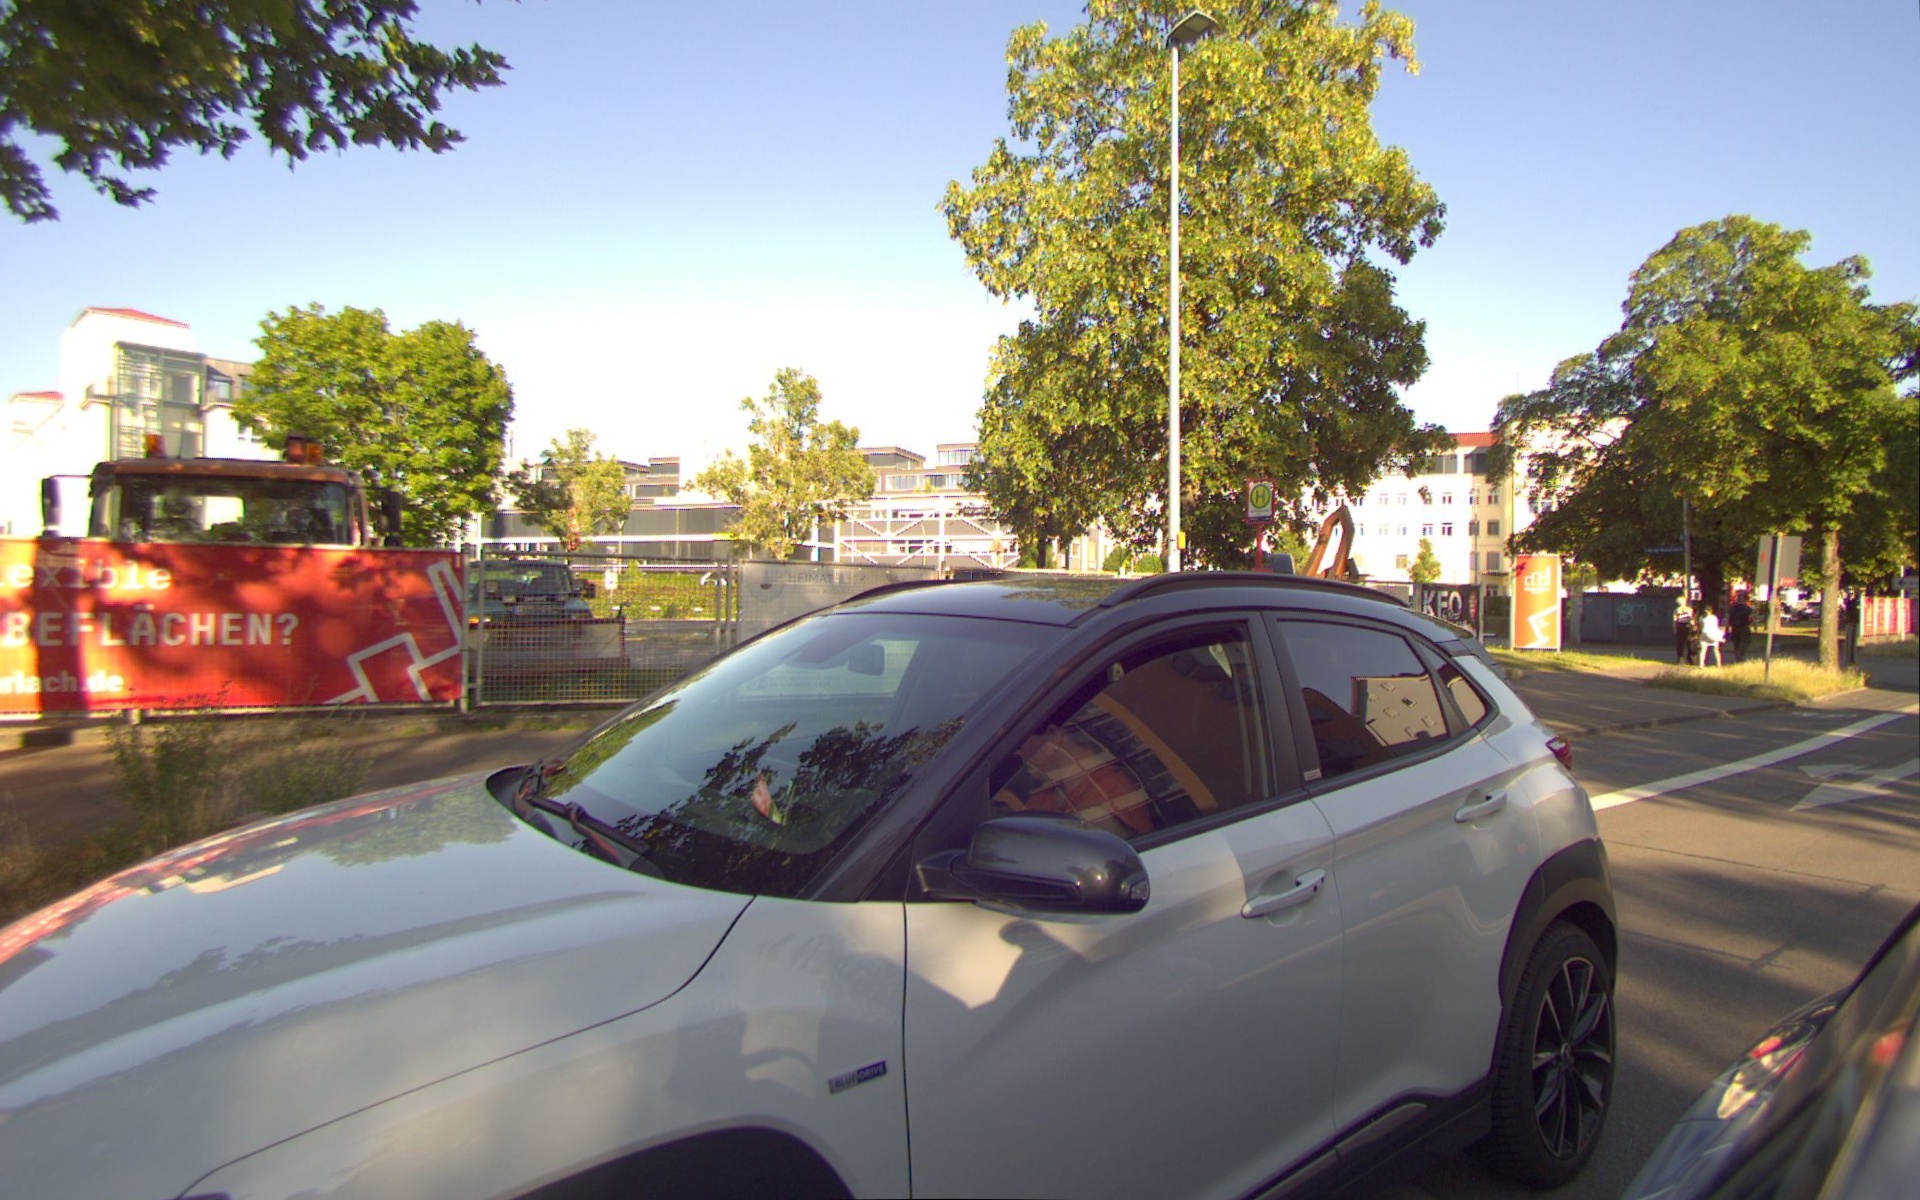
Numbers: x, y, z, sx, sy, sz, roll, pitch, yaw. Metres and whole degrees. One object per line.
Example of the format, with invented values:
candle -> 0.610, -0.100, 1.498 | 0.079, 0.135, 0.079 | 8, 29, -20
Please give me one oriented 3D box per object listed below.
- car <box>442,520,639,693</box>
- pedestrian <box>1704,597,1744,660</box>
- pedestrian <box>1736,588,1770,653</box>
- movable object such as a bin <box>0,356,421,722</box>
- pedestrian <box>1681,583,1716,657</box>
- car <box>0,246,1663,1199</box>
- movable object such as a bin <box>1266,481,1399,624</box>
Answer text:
car -> -5.664, 0.046, 13.301 | 2.001, 1.851, 4.612 | 0, 0, -28
pedestrian -> 17.925, 0.652, 23.746 | 0.627, 1.452, 0.609 | 0, 0, -40
pedestrian -> 20.905, 0.531, 26.693 | 0.692, 1.689, 0.630 | 0, 0, 38
movable object such as a bin -> -8.388, -0.546, 12.061 | 3.154, 3.087, 6.295 | 0, 0, -31
pedestrian -> 17.969, 0.478, 24.636 | 0.607, 1.759, 0.629 | 0, 0, 44
car -> -0.019, 0.606, 2.505 | 3.893, 1.618, 1.894 | 3, -2, -39
movable object such as a bin -> 15.525, -1.879, 42.769 | 3.910, 5.547, 6.022 | 0, 0, 6
